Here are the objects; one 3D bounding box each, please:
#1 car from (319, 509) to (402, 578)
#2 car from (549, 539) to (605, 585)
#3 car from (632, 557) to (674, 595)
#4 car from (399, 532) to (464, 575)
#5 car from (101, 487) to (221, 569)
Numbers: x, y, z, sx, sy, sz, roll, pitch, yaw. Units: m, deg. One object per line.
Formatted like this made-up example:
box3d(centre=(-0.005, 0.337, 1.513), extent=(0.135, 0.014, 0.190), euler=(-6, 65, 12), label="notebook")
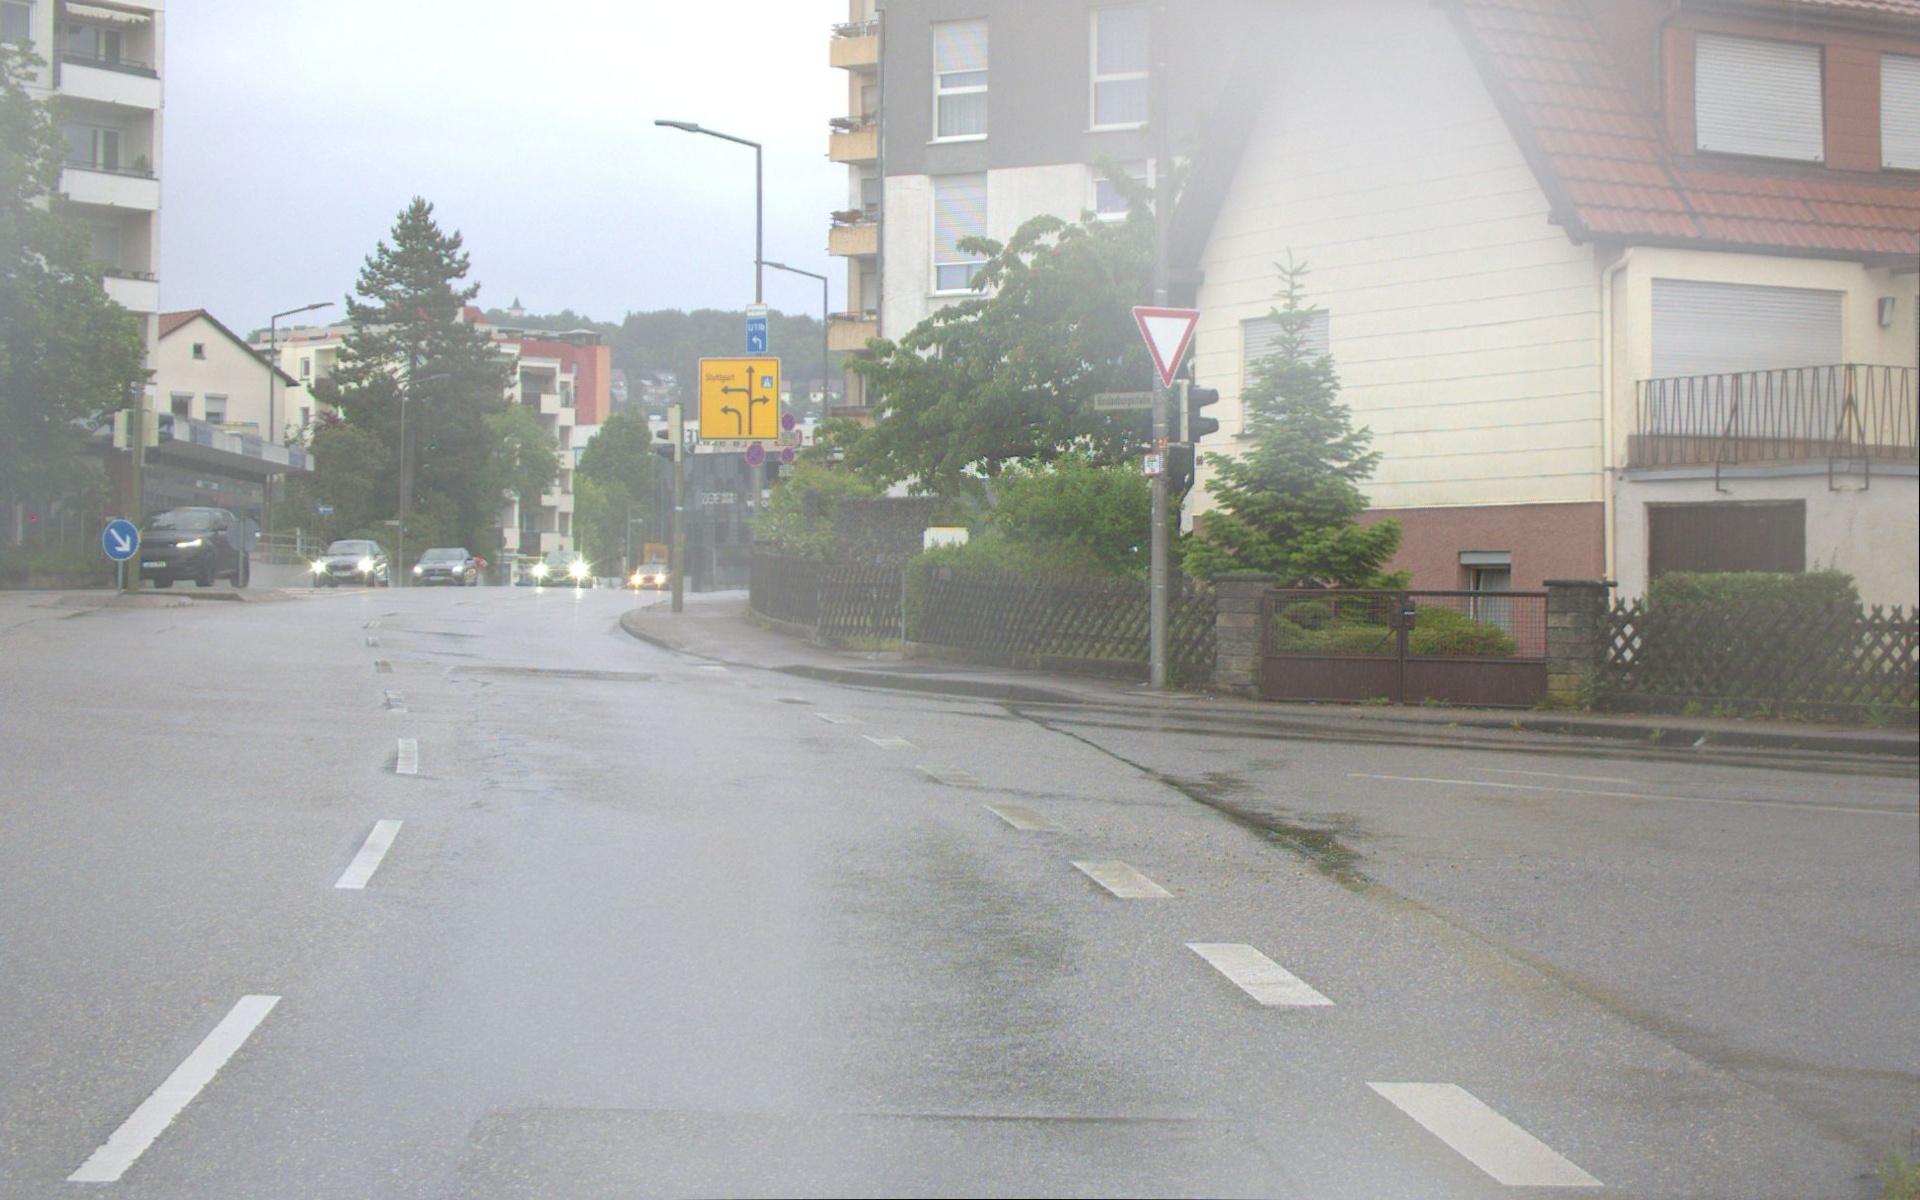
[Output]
box3d(centre=(-17.256, -1.618, 99.074), extent=(1.993, 1.897, 4.001), euler=(1, 1, -5), label="car")
box3d(centre=(-14.404, -1.416, 129.403), extent=(1.993, 1.673, 4.001), euler=(1, 1, -5), label="car")
box3d(centre=(-15.083, -1.197, 168.784), extent=(1.993, 1.805, 4.001), euler=(1, 1, -5), label="car")
box3d(centre=(-18.508, -1.631, 120.477), extent=(1.993, 1.458, 4.001), euler=(1, 1, -5), label="car")
box3d(centre=(-17.547, -1.559, 75.673), extent=(1.993, 1.731, 5.182), euler=(1, 1, -7), label="car")
